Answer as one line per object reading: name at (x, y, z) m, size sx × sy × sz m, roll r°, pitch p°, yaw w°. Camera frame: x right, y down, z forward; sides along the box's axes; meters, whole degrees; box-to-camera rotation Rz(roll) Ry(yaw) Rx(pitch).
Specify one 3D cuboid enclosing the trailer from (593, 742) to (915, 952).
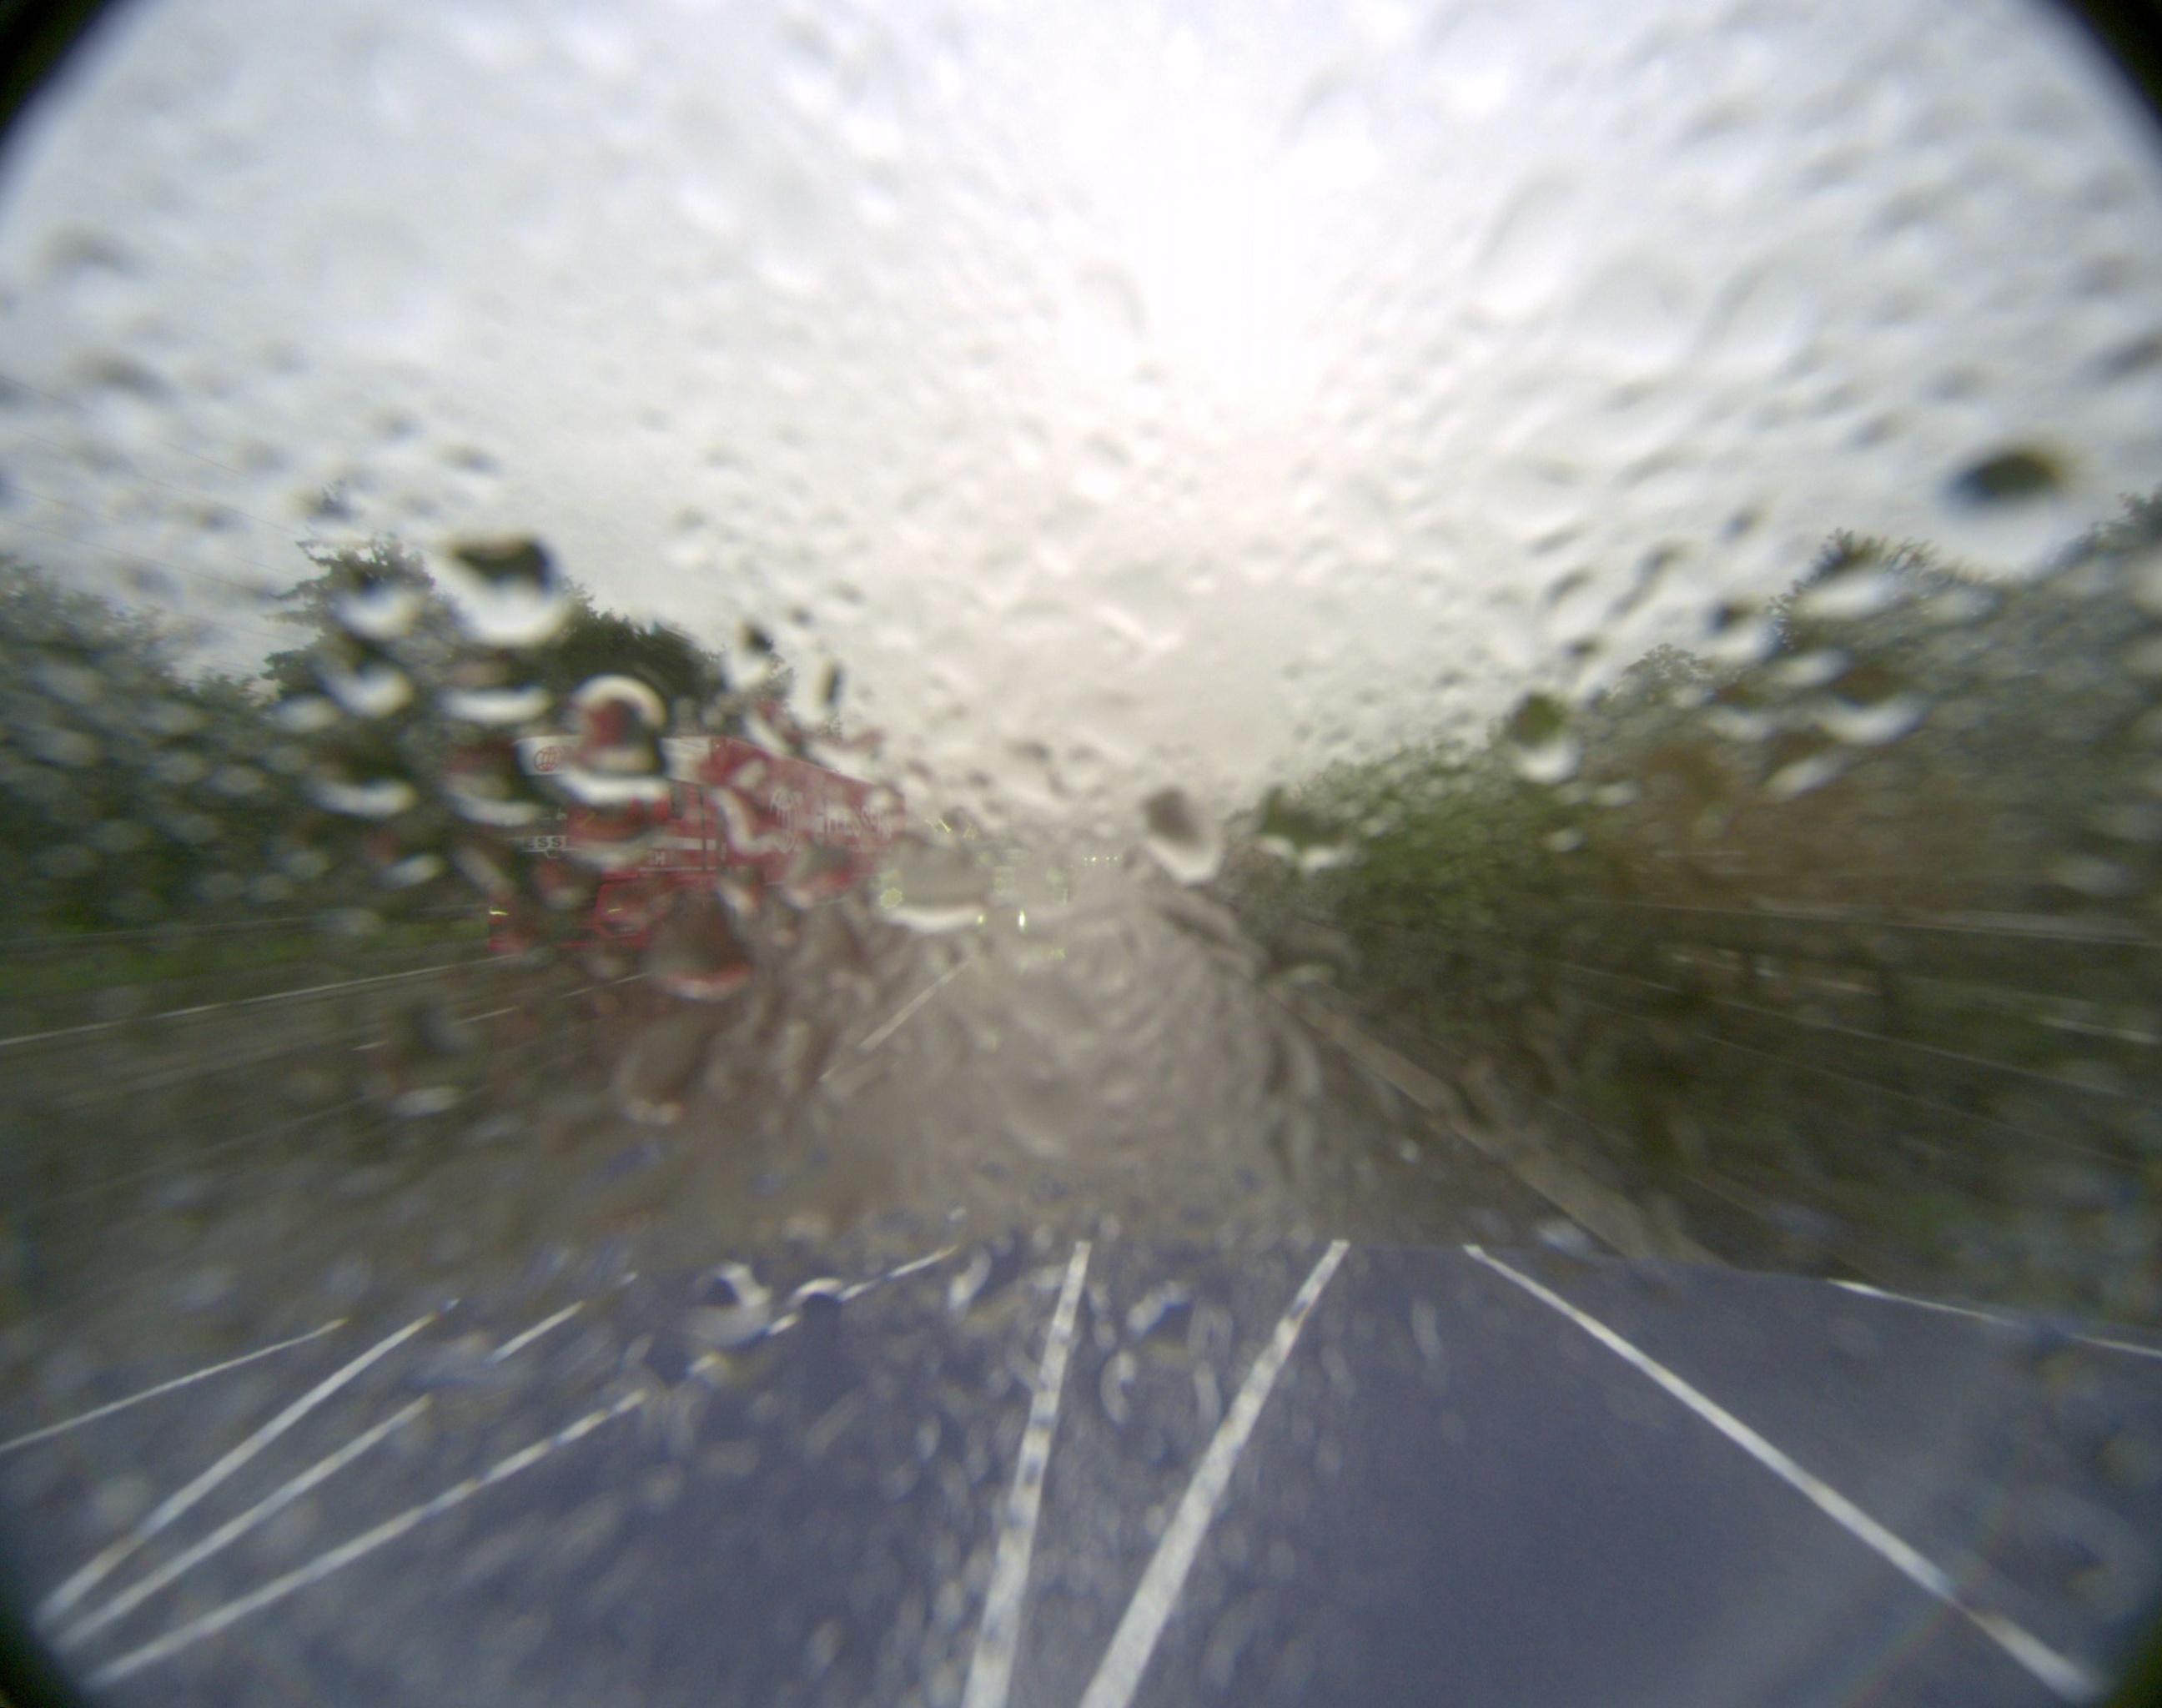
trailer at (-7.726, -0.173, 21.310) m, size 2.626 × 3.932 × 13.630 m, roll -2°, pitch 0°, yaw 2°

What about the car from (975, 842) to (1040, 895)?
car at (-2.886, 0.551, 30.927) m, size 1.892 × 1.873 × 5.010 m, roll -4°, pitch 0°, yaw 2°

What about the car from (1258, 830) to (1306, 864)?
car at (18.275, -0.580, 69.387) m, size 2.553 × 2.808 × 7.427 m, roll -3°, pitch 0°, yaw 2°

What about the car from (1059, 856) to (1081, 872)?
car at (-1.122, 1.009, 78.846) m, size 1.769 × 1.448 × 3.960 m, roll -4°, pitch 0°, yaw 4°

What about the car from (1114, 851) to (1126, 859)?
car at (7.287, 0.173, 143.333) m, size 1.768 × 1.448 × 3.961 m, roll -4°, pitch 0°, yaw 9°

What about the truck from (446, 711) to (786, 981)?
truck at (-7.975, -0.124, 14.022) m, size 2.626 × 3.932 × 5.433 m, roll -2°, pitch 1°, yaw 2°
